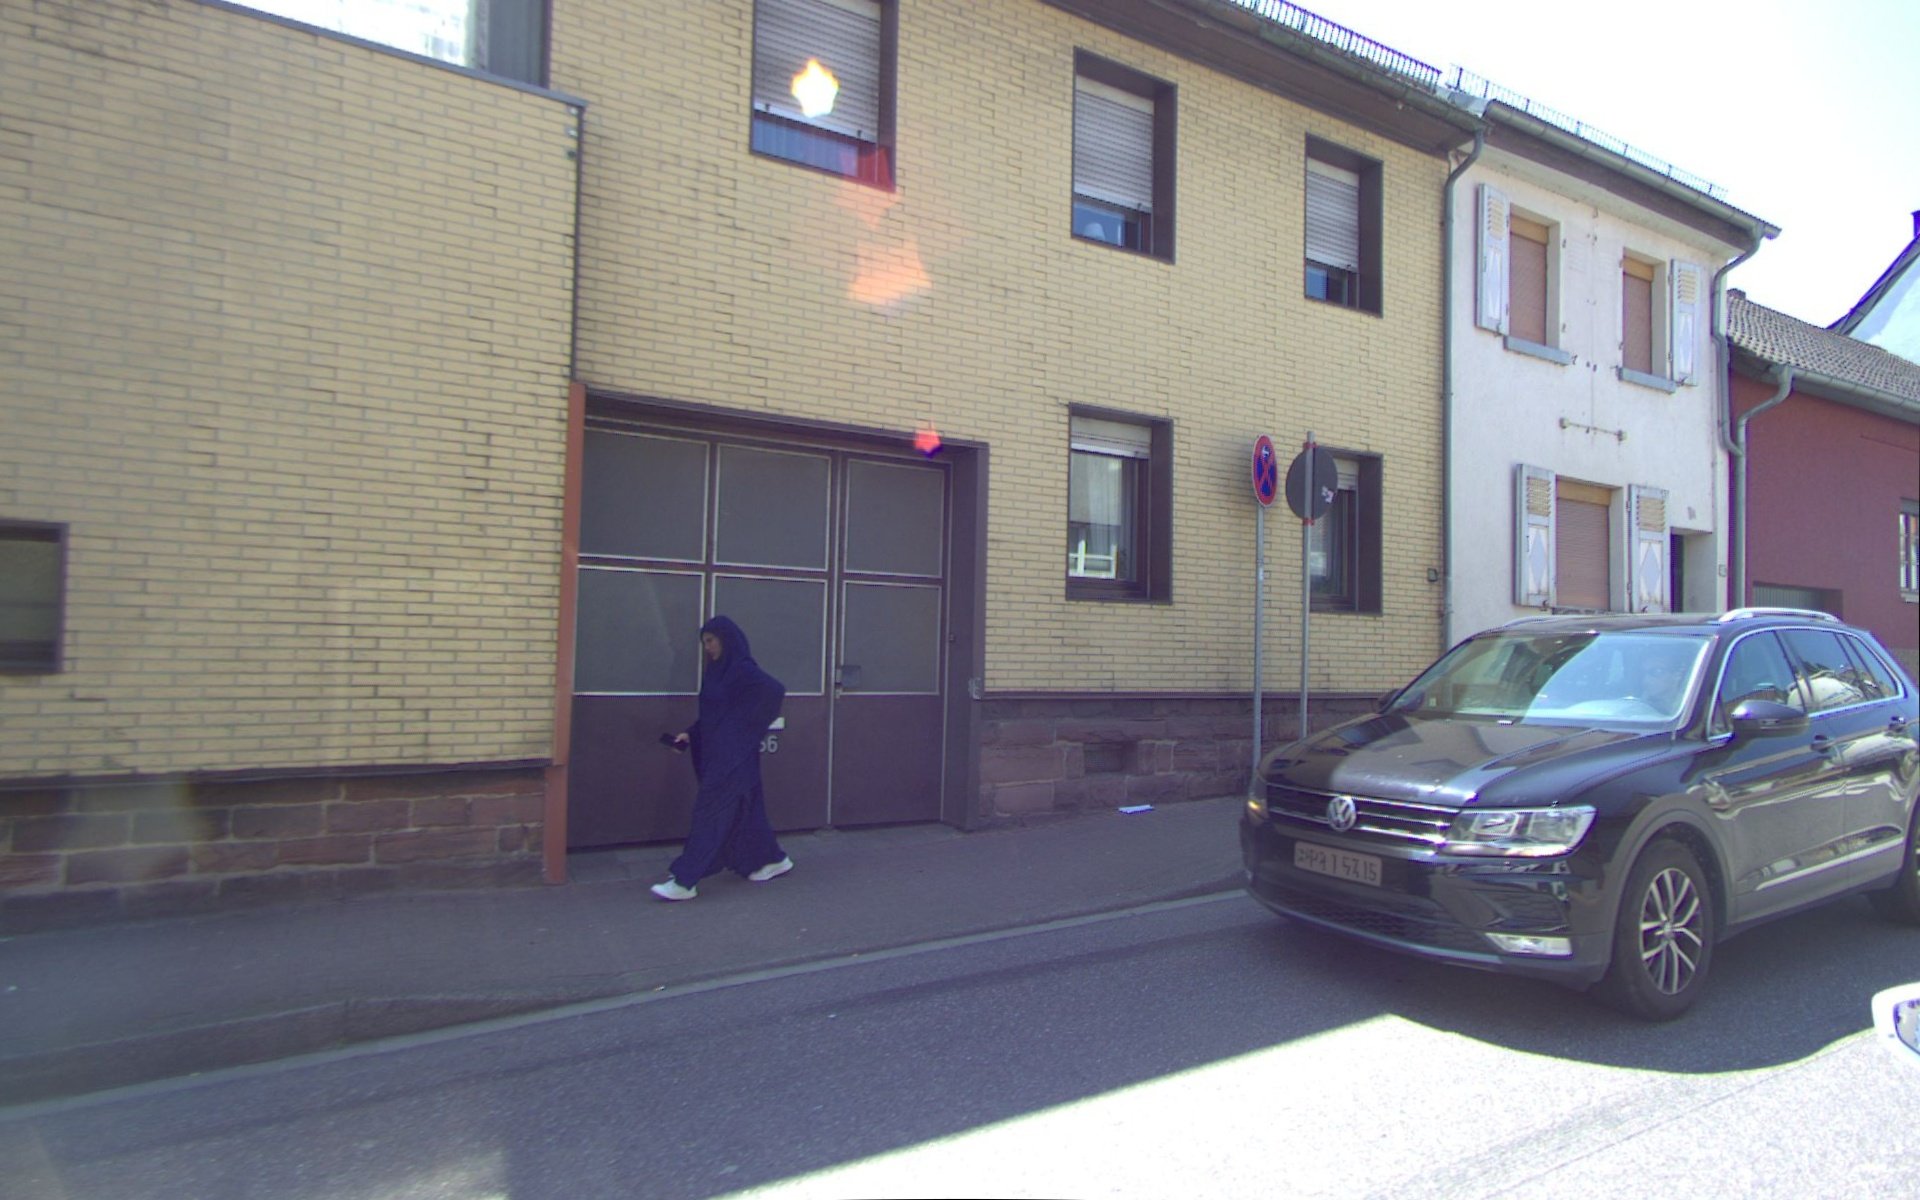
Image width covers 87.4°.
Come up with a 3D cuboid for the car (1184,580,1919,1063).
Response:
[{"bbox_3d":[3.419,0.848,5.281,4.285,1.630,1.804,2,-4,-30],"label":"car"}]

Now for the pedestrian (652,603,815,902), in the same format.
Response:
[{"bbox_3d":[-1.317,0.820,5.798,0.745,1.585,0.659,1,-1,-28],"label":"pedestrian"}]
